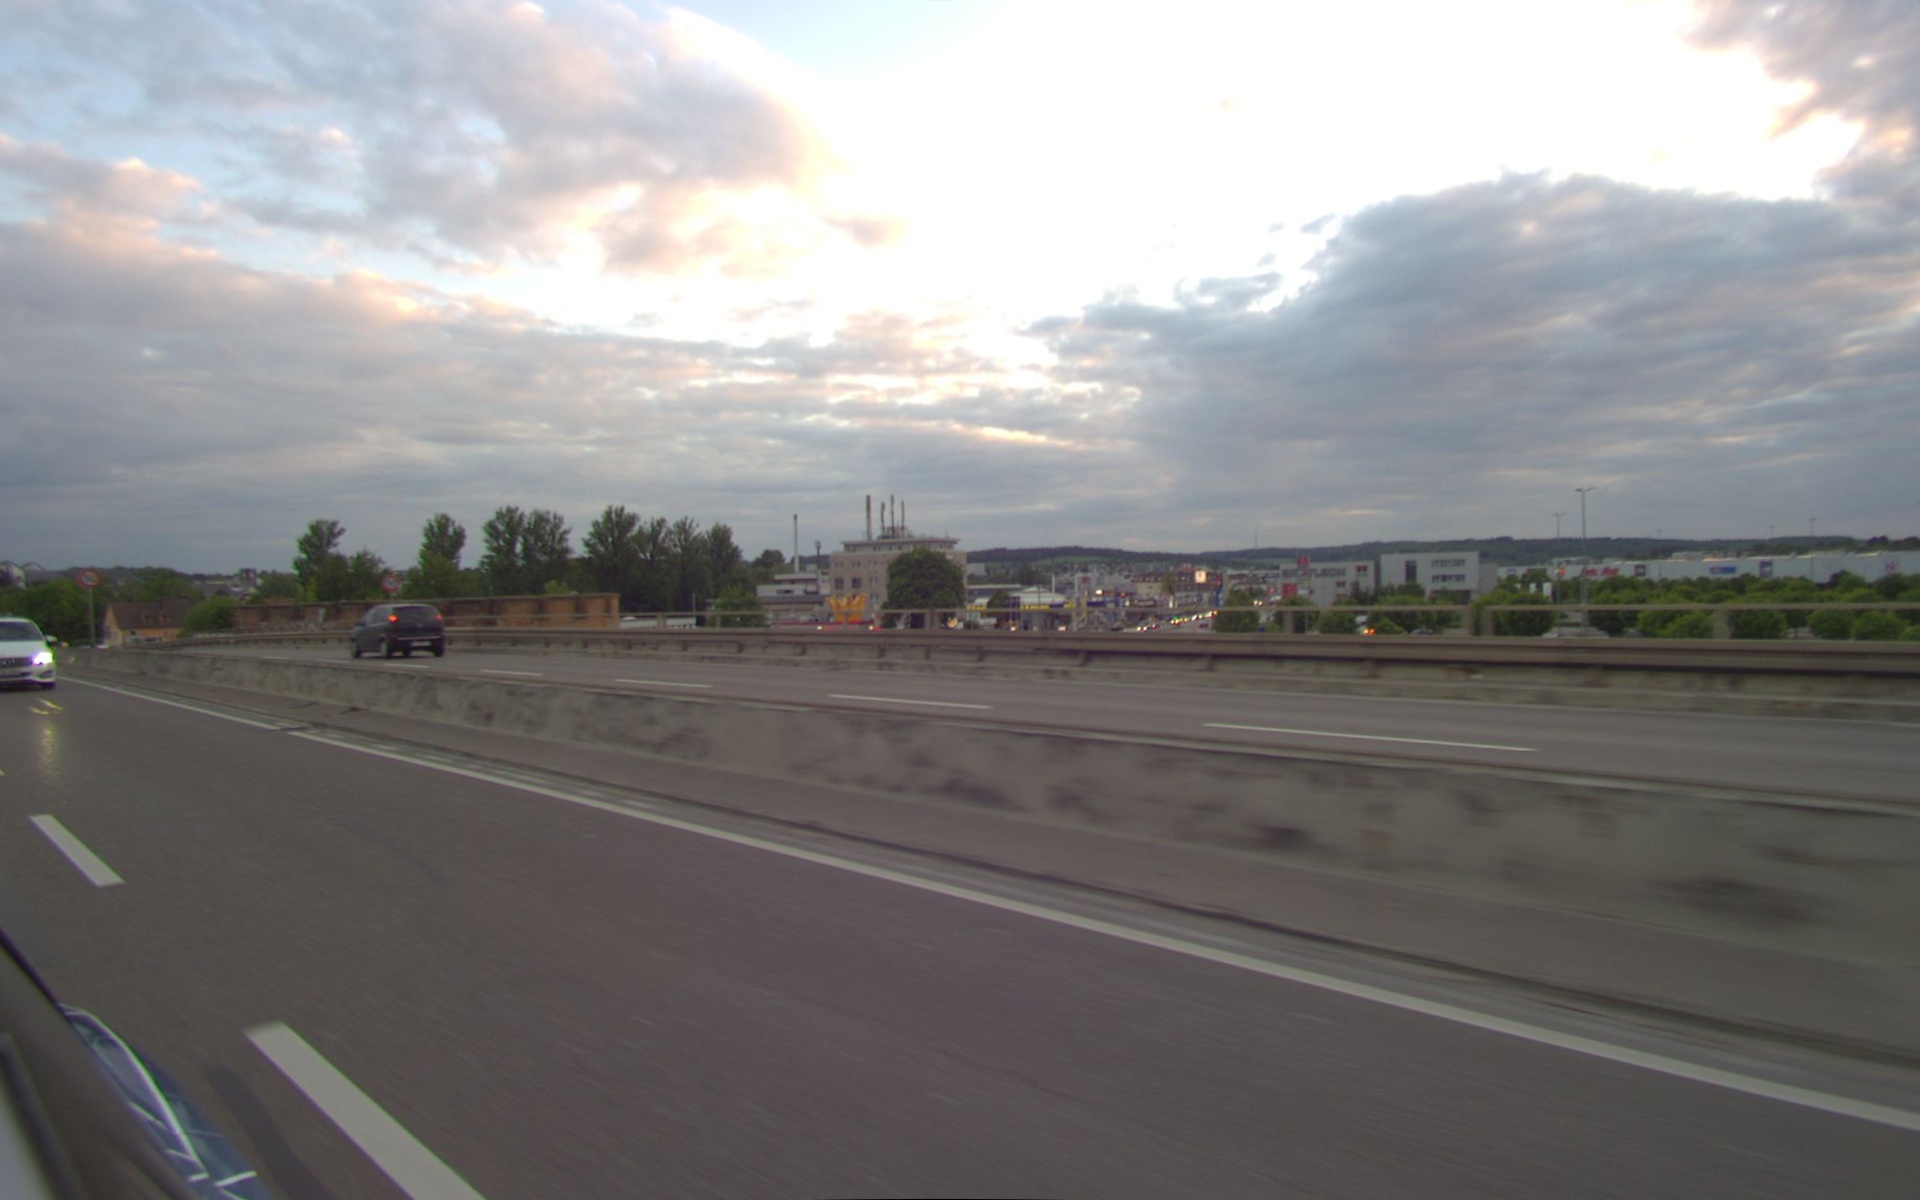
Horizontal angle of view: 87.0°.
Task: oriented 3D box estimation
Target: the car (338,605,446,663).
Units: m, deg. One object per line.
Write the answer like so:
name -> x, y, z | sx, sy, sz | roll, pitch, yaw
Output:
car -> -17.290, 0.993, 30.740 | 4.041, 1.606, 1.639 | -1, 0, 42

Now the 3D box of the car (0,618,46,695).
car -> -21.399, 1.242, 22.158 | 4.784, 1.548, 1.672 | -3, -1, 43
